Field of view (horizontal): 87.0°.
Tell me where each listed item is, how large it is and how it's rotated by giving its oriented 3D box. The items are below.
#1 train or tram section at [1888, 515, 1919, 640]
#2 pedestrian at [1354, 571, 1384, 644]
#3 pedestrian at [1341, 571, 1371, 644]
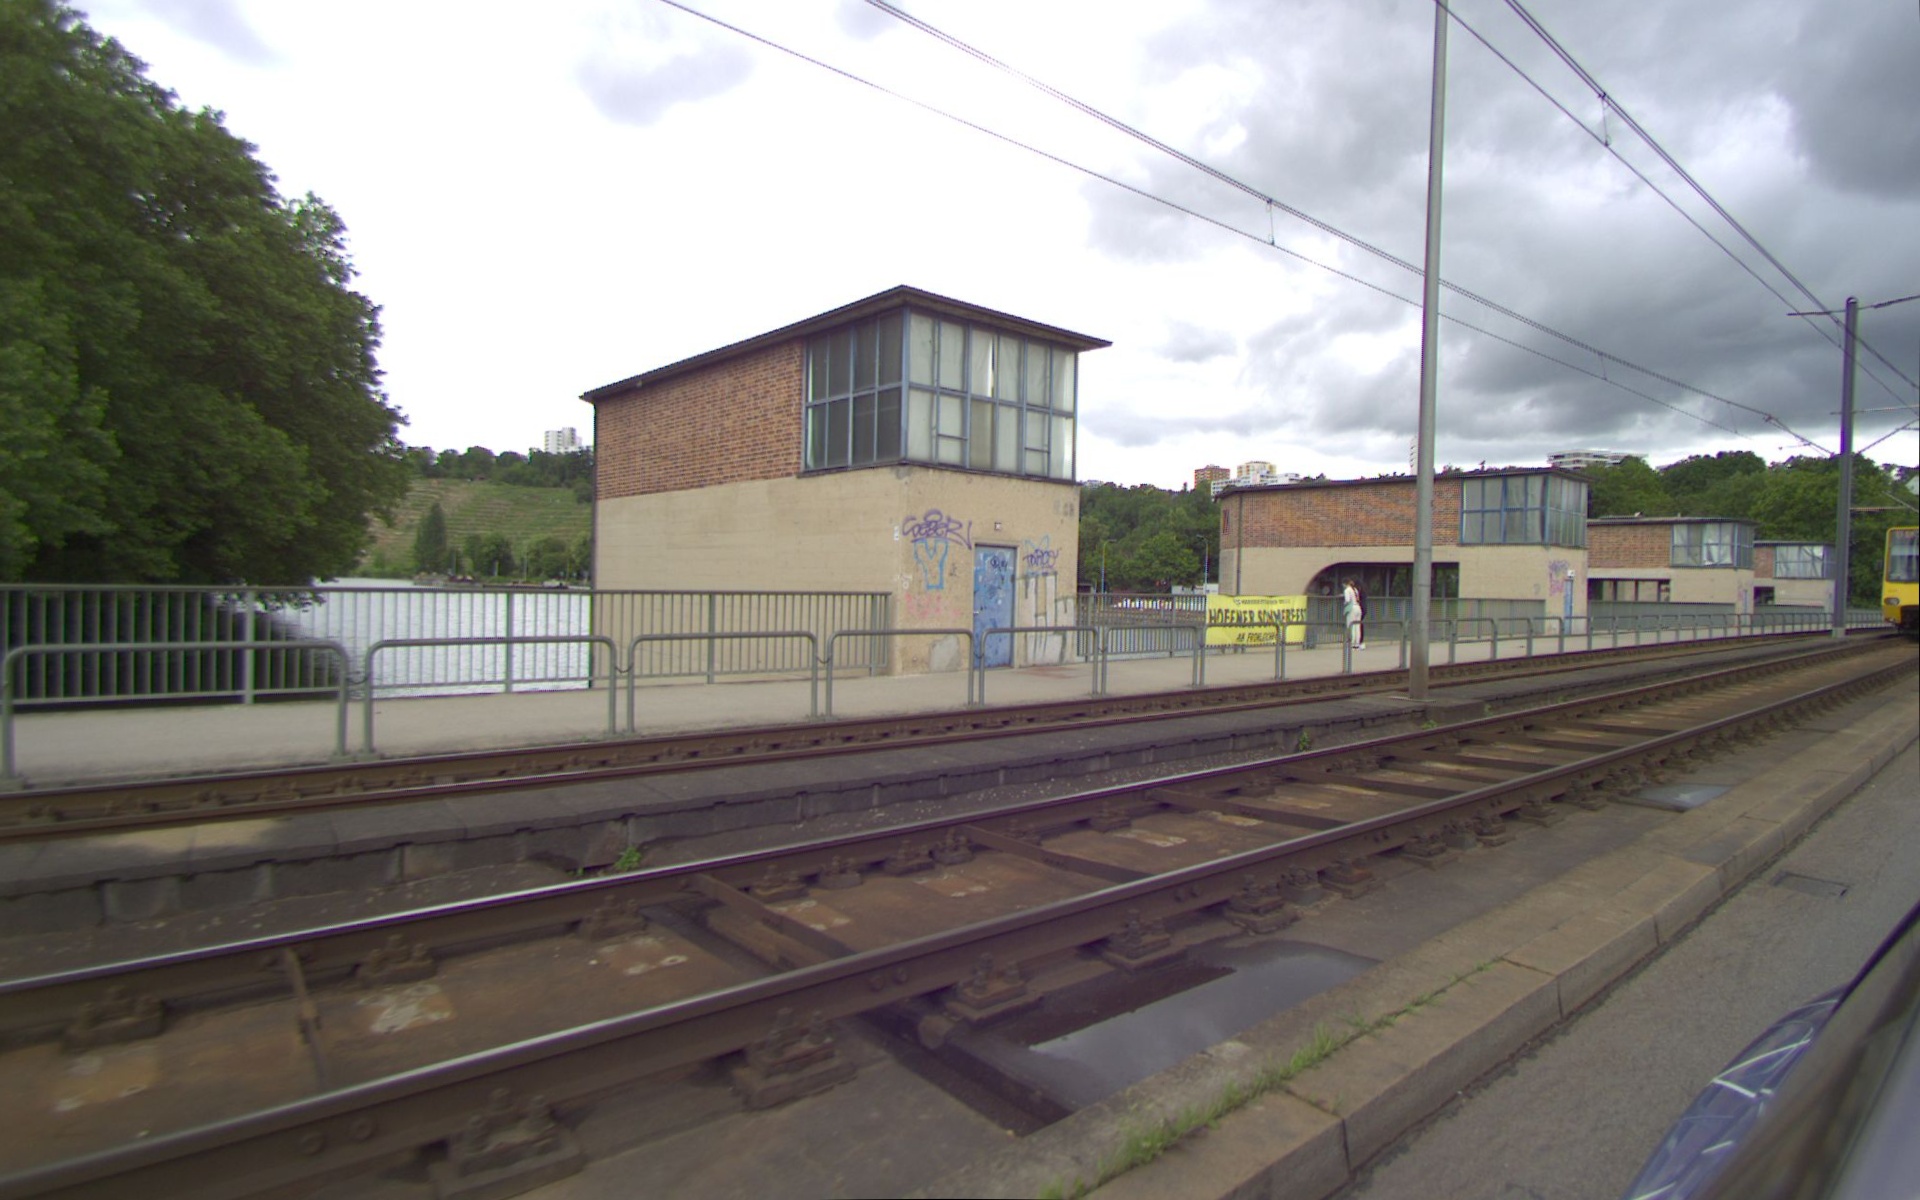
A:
[{"bbox_3d":[37.039,-0.702,37.077,19.554,3.811,2.797,0,1,-43],"label":"train or tram section"},{"bbox_3d":[9.514,0.177,23.525,0.450,1.668,0.332,2,2,-23],"label":"pedestrian"},{"bbox_3d":[9.116,0.164,23.319,0.434,1.647,0.348,2,2,-23],"label":"pedestrian"}]
